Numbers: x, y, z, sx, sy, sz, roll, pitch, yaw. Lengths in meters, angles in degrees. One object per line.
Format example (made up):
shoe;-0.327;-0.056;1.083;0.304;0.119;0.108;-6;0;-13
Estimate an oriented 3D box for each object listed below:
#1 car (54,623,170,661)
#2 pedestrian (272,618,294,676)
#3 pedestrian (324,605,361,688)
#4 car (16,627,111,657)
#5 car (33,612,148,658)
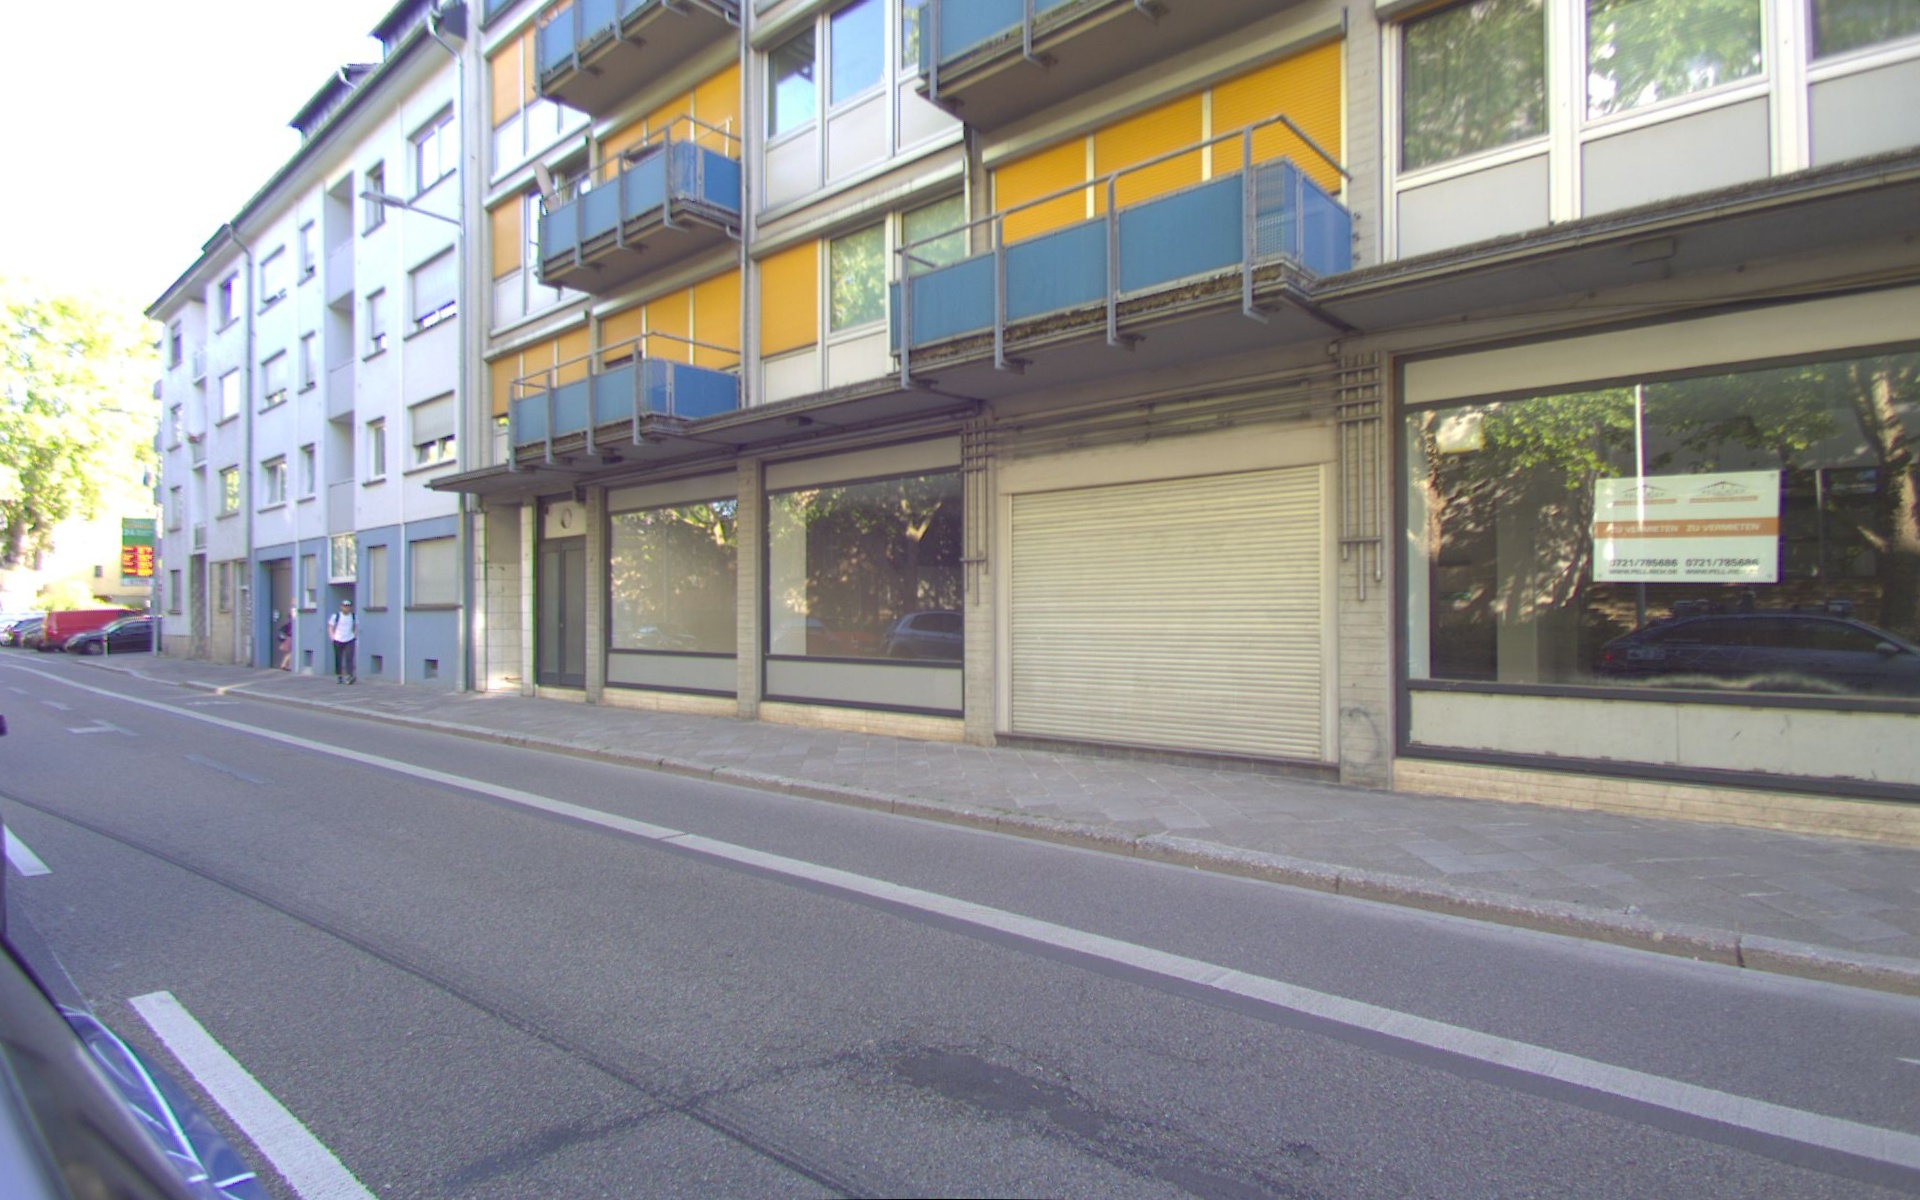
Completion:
car;-36.675;1.778;43.832;1.635;1.422;3.623;-1;0;41
pedestrian;-18.140;1.259;27.109;0.570;1.529;0.338;-2;0;43
pedestrian;-13.267;0.997;21.743;0.343;1.739;0.562;-2;0;41
car;-42.991;2.010;48.579;1.294;1.258;3.283;-1;0;41
car;-40.629;1.593;47.363;1.635;1.937;3.878;-1;0;41
